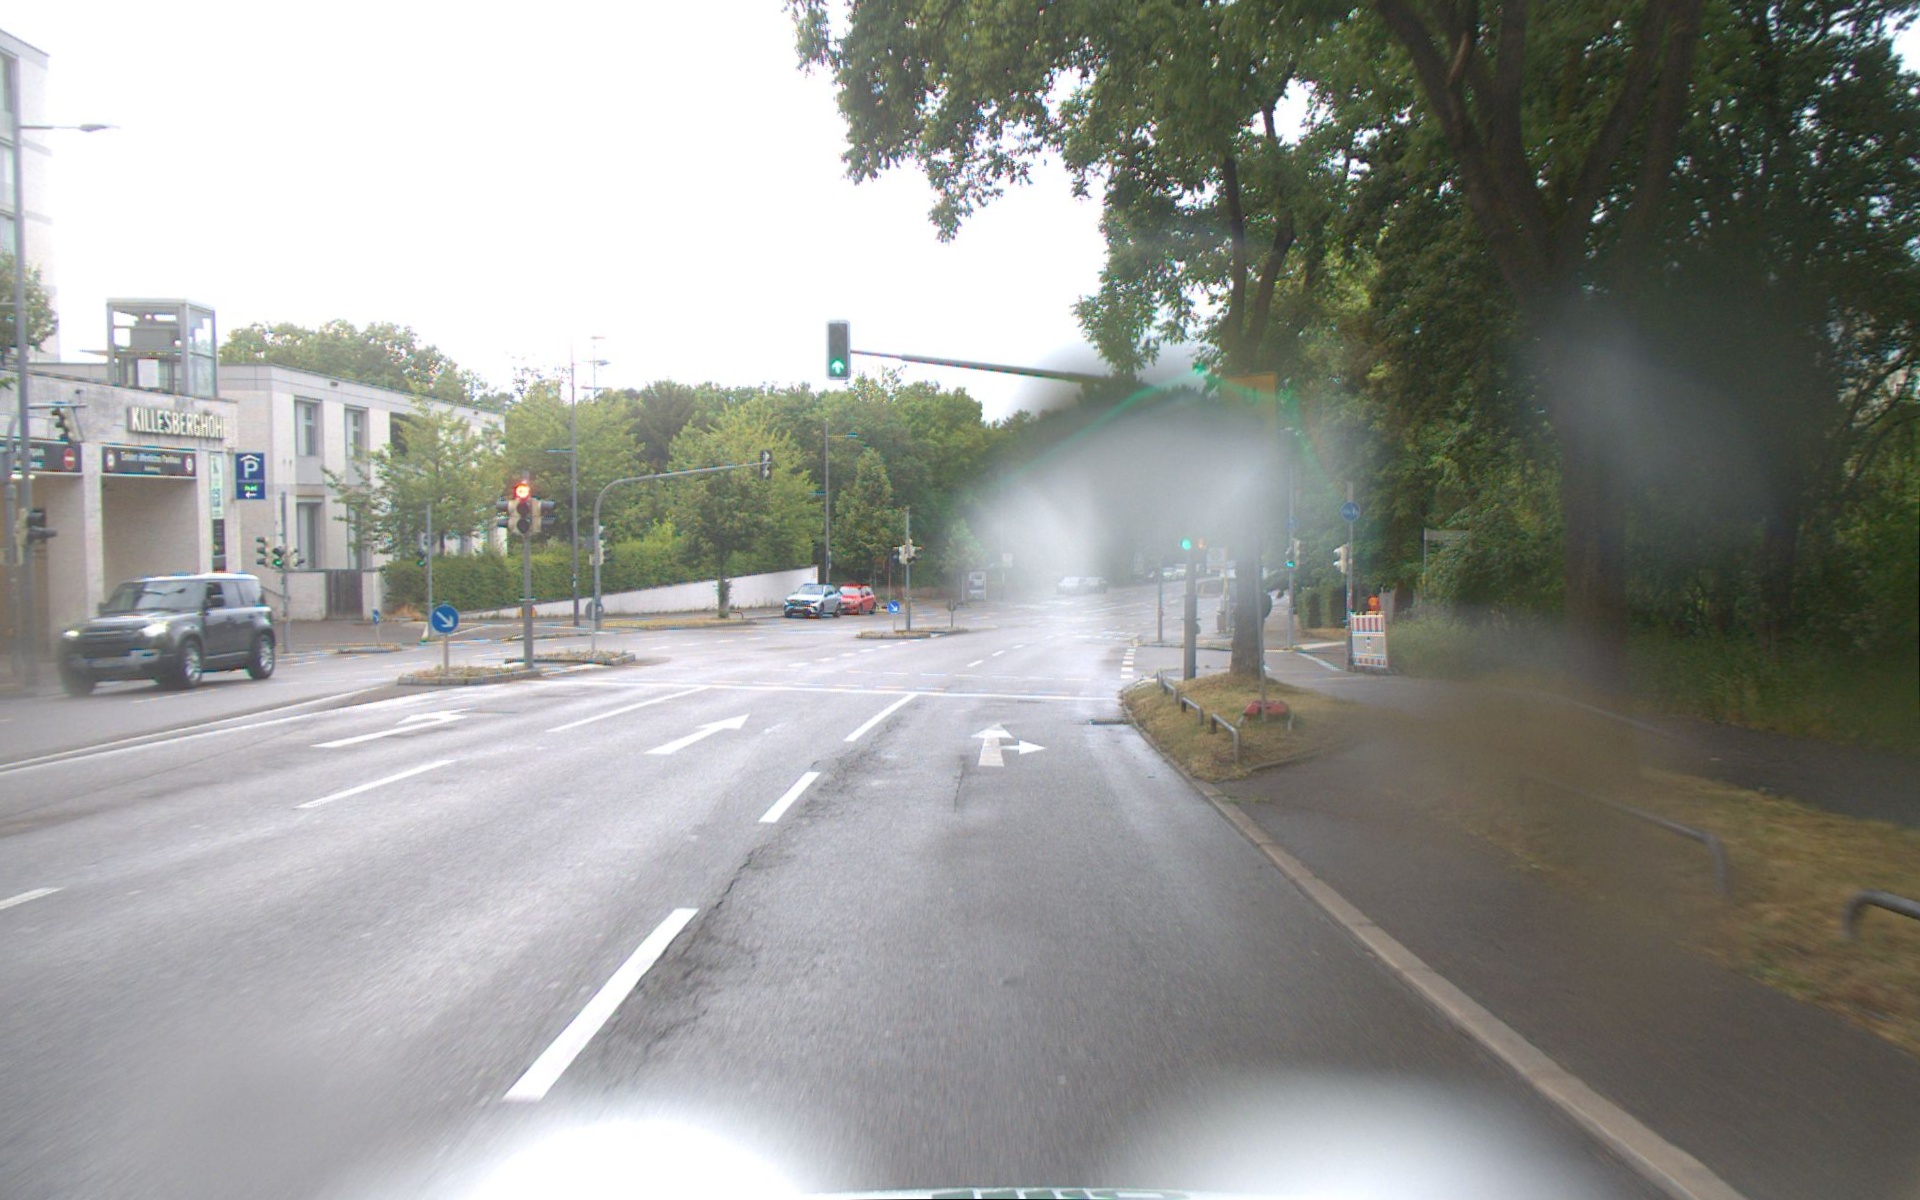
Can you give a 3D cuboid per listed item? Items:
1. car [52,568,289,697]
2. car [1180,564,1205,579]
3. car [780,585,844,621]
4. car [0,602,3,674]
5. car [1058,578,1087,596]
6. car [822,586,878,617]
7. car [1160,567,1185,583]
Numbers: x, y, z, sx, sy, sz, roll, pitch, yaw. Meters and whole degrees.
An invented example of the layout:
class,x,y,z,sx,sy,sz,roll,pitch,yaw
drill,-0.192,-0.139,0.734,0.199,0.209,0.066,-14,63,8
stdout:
class,x,y,z,sx,sy,sz,roll,pitch,yaw
car,-13.182,0.492,27.967,1.882,1.889,4.504,-4,0,-2
car,27.245,-3.327,193.728,1.916,1.511,4.002,3,5,21
car,-7.397,0.132,83.083,1.814,1.668,4.097,3,1,15
car,-24.685,0.914,37.852,4.412,1.701,1.926,-1,0,-3
car,9.720,-1.088,143.098,1.677,1.486,3.752,1,0,16
car,-5.945,0.064,90.164,1.835,1.602,4.226,3,1,13
car,23.866,-2.826,185.846,1.916,1.511,4.002,3,5,21
